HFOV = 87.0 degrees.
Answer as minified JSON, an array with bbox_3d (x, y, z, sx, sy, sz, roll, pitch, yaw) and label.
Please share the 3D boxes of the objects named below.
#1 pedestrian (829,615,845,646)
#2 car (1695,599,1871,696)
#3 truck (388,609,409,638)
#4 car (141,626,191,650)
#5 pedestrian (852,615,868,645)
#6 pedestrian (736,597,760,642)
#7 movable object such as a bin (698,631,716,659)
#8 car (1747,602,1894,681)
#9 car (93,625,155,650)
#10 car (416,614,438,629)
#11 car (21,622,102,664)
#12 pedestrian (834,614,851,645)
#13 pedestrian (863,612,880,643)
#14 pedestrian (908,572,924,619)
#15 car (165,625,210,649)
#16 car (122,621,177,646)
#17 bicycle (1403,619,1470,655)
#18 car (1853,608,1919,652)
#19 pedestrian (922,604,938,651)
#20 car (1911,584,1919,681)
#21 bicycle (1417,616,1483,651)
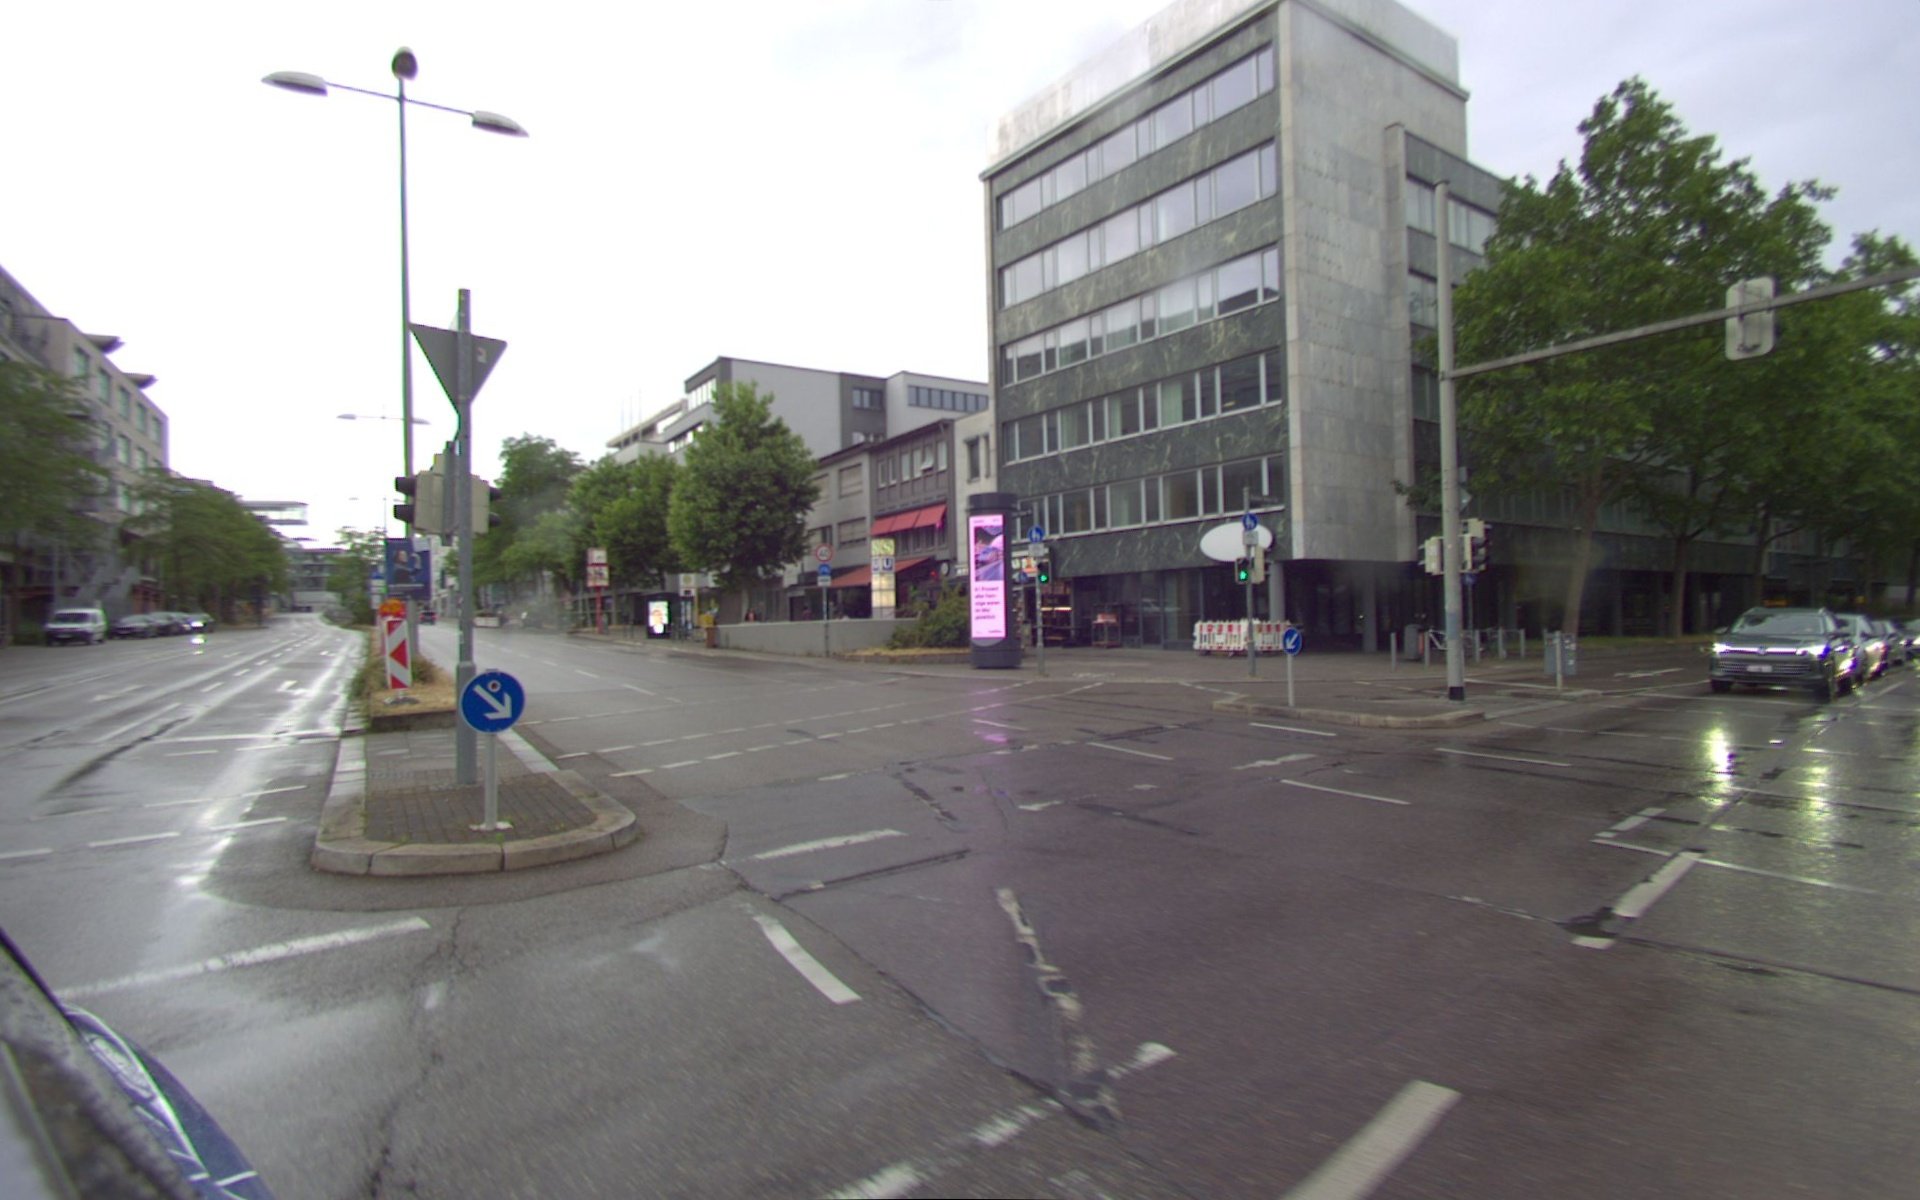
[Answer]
[{"bbox_3d":[-6.276,1.540,51.599,0.658,1.540,0.613,0,-2,-28],"label":"pedestrian"},{"bbox_3d":[16.256,0.868,19.916,4.299,1.699,2.003,0,-2,-42],"label":"car"},{"bbox_3d":[-72.983,3.083,131.454,1.966,3.605,7.594,0,-1,-33],"label":"truck"},{"bbox_3d":[-55.722,2.626,71.077,2.112,1.572,4.831,0,-1,-31],"label":"car"},{"bbox_3d":[-5.189,1.565,52.366,0.658,1.540,0.613,0,-2,-27],"label":"pedestrian"},{"bbox_3d":[-8.816,0.818,42.129,0.789,1.837,0.605,-1,-1,29],"label":"pedestrian"},{"bbox_3d":[-10.387,1.844,41.573,0.499,1.109,0.663,0,-1,-33],"label":"movable object such as a bin"},{"bbox_3d":[20.956,0.951,24.610,3.936,1.763,2.004,0,-2,-39],"label":"car"},{"bbox_3d":[-49.744,2.222,60.317,2.112,1.347,4.831,0,-1,-31],"label":"car"},{"bbox_3d":[-75.926,3.033,144.116,1.967,1.942,4.976,1,-1,-37],"label":"car"},{"bbox_3d":[-44.193,2.067,49.891,2.177,1.921,4.343,0,-1,-31],"label":"car"},{"bbox_3d":[-5.879,1.485,50.670,0.658,1.540,0.613,0,-2,-28],"label":"pedestrian"},{"bbox_3d":[-4.504,1.411,51.719,0.658,1.540,0.613,0,-2,-28],"label":"pedestrian"},{"bbox_3d":[-1.935,-0.210,44.167,0.589,2.029,0.729,0,-1,-10],"label":"pedestrian"},{"bbox_3d":[-58.207,2.739,76.296,2.112,1.659,4.831,0,-1,-31],"label":"car"},{"bbox_3d":[-53.034,2.184,66.299,2.112,1.506,4.831,0,-1,-31],"label":"car"},{"bbox_3d":[14.574,1.121,30.993,0.577,1.060,1.788,0,-1,-35],"label":"bicycle"},{"bbox_3d":[31.696,0.969,33.846,4.109,1.381,2.004,0,-2,-38],"label":"car"},{"bbox_3d":[-1.321,1.218,44.245,0.589,2.029,0.729,0,-1,-10],"label":"pedestrian"},{"bbox_3d":[19.532,0.568,18.860,3.935,1.763,2.004,0,-2,-38],"label":"car"},{"bbox_3d":[15.331,1.046,31.690,0.577,1.060,1.788,0,-1,-35],"label":"bicycle"}]
